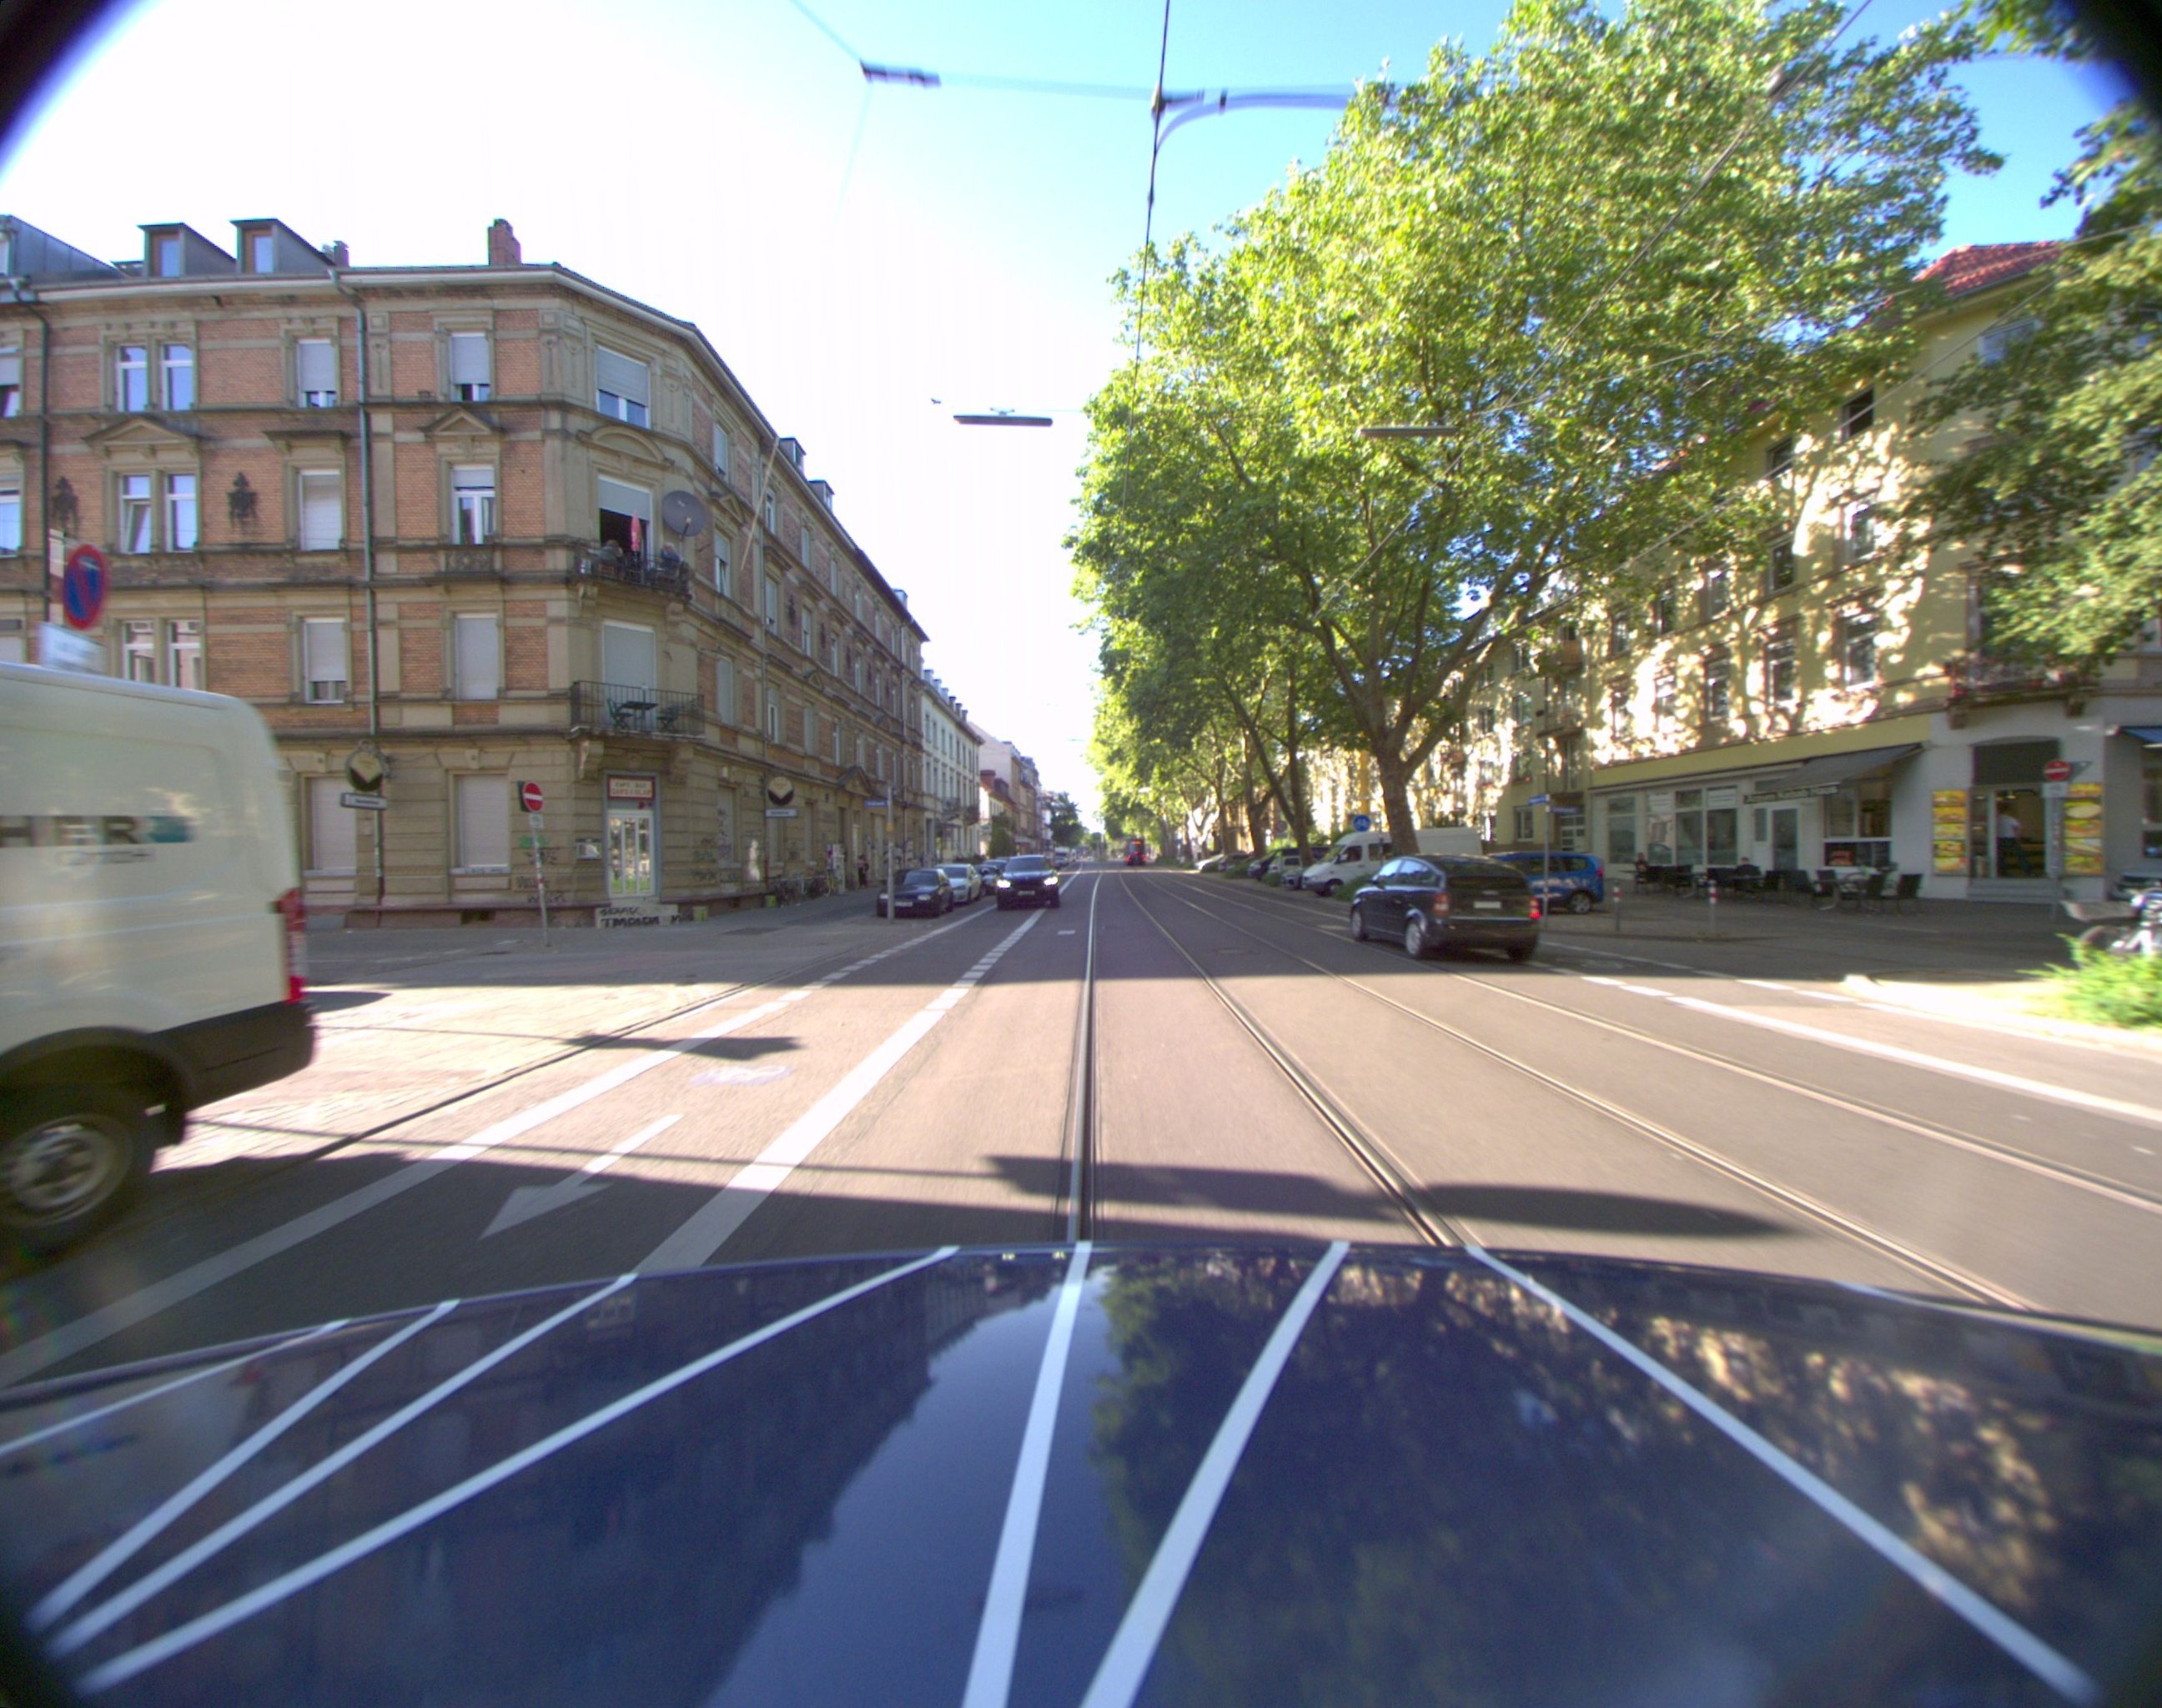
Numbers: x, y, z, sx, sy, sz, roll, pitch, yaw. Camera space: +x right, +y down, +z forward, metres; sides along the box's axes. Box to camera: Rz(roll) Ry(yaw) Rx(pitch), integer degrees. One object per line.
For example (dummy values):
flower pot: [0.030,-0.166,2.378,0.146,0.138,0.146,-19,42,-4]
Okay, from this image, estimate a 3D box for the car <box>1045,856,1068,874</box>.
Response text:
car: [-2.195,1.005,68.741,1.729,1.559,3.686,1,0,2]

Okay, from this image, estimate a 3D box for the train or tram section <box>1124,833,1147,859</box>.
train or tram section: [7.936,-1.204,112.363,2.944,3.598,11.259,-3,1,3]

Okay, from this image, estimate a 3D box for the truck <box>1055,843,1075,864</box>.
truck: [-2.573,-0.128,124.369,2.842,3.145,7.292,-3,1,1]

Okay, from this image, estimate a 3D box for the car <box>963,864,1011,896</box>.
car: [-4.236,1.135,34.788,1.653,1.265,3.724,1,1,1]

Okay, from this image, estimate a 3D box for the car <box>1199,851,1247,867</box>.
car: [12.924,0.442,69.357,3.998,1.422,1.601,-1,1,-2]

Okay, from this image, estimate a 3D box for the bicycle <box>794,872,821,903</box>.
bicycle: [-9.603,1.164,26.705,0.379,0.995,1.373,-1,0,3]

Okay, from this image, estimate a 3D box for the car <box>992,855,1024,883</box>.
car: [-4.267,0.867,44.733,1.514,1.534,2.821,1,1,2]

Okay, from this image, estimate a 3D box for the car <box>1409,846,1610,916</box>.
car: [11.228,0.687,20.116,4.331,1.702,1.816,-1,0,-2]

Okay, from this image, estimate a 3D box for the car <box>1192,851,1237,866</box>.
car: [12.706,0.446,72.209,3.998,1.367,1.411,-1,1,-2]

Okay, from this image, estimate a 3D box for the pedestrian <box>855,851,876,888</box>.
pedestrian: [-9.923,0.710,34.988,0.716,1.647,0.766,-1,1,1]

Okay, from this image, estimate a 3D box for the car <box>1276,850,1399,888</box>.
car: [11.658,0.666,34.830,4.943,1.437,2.000,-3,0,2]

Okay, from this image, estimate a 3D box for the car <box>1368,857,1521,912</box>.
car: [10.835,0.871,22.811,3.780,1.509,1.747,-1,0,-5]

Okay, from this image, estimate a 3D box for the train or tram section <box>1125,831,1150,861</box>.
train or tram section: [7.436,-1.086,101.212,2.944,3.598,11.062,-3,1,3]

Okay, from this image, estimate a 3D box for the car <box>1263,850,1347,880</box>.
car: [12.287,0.586,41.855,4.068,1.437,1.869,-3,0,2]

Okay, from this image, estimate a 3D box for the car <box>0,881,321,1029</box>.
car: [-12.068,1.173,9.331,3.659,1.564,1.790,-1,0,1]

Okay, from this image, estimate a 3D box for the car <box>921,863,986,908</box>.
car: [-4.595,1.107,27.987,1.606,1.412,4.013,1,1,1]

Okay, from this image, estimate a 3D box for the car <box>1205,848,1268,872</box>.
car: [11.888,0.461,58.201,4.365,1.603,2.000,-3,0,2]

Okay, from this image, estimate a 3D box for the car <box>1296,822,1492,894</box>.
car: [11.941,0.157,29.347,6.618,2.393,2.000,-3,0,2]

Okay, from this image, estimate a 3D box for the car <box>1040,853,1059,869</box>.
car: [-3.318,0.708,79.814,1.702,1.559,3.686,1,0,3]

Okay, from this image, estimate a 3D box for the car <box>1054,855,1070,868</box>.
car: [-2.239,0.887,91.278,1.702,1.559,3.686,1,0,3]

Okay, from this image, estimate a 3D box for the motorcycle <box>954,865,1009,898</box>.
motorcycle: [-4.157,1.152,31.771,2.143,1.281,0.642,-1,1,-20]

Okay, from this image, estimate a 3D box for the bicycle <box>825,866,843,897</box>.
bicycle: [-9.638,1.063,29.653,0.274,1.147,1.139,-1,1,3]

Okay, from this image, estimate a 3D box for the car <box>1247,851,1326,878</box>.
car: [12.556,0.619,46.517,4.365,1.400,1.658,-3,0,2]

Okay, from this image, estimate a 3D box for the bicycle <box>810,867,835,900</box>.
bicycle: [-9.628,1.087,28.356,0.379,1.147,1.373,-1,0,3]

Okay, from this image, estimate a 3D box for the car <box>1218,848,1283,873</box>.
car: [12.475,0.484,56.139,4.365,1.603,2.000,-3,0,2]

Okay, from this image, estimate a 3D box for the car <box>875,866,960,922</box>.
car: [-4.763,1.114,22.698,1.653,1.412,4.059,1,1,0]

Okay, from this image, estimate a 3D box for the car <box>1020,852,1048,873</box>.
car: [-3.632,0.639,59.764,1.729,1.497,3.908,3,1,2]

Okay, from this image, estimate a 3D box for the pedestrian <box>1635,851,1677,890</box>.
pedestrian: [18.756,0.516,24.806,0.708,1.234,0.930,-1,1,3]

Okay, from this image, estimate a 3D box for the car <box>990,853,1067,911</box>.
car: [-1.646,0.890,25.503,1.948,1.694,4.632,-2,-1,3]

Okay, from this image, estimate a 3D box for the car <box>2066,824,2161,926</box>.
car: [22.815,0.366,14.645,4.582,1.870,2.128,-1,3,4]

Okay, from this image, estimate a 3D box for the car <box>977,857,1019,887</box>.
car: [-4.308,0.894,40.095,1.610,1.444,3.741,1,1,3]

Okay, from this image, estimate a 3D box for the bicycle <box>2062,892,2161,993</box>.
bicycle: [12.242,0.972,8.360,1.858,1.082,0.397,-1,1,19]

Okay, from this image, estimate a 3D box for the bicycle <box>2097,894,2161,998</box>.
bicycle: [12.109,0.971,7.955,1.858,1.082,0.397,-1,1,19]

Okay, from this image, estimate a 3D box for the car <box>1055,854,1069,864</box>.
car: [-2.700,0.740,110.119,1.702,1.324,3.686,1,0,3]

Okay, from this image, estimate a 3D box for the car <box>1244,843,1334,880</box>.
car: [12.068,0.414,44.357,4.639,1.896,1.922,-3,0,0]

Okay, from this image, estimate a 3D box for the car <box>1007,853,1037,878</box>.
car: [-4.047,0.764,52.865,1.635,1.497,3.907,3,1,1]

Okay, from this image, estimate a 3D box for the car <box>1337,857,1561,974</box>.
car: [5.439,0.815,11.787,1.639,1.501,3.691,0,0,0]

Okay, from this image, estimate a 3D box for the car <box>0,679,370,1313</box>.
car: [-5.338,0.583,1.422,2.154,2.481,6.088,-1,1,1]
